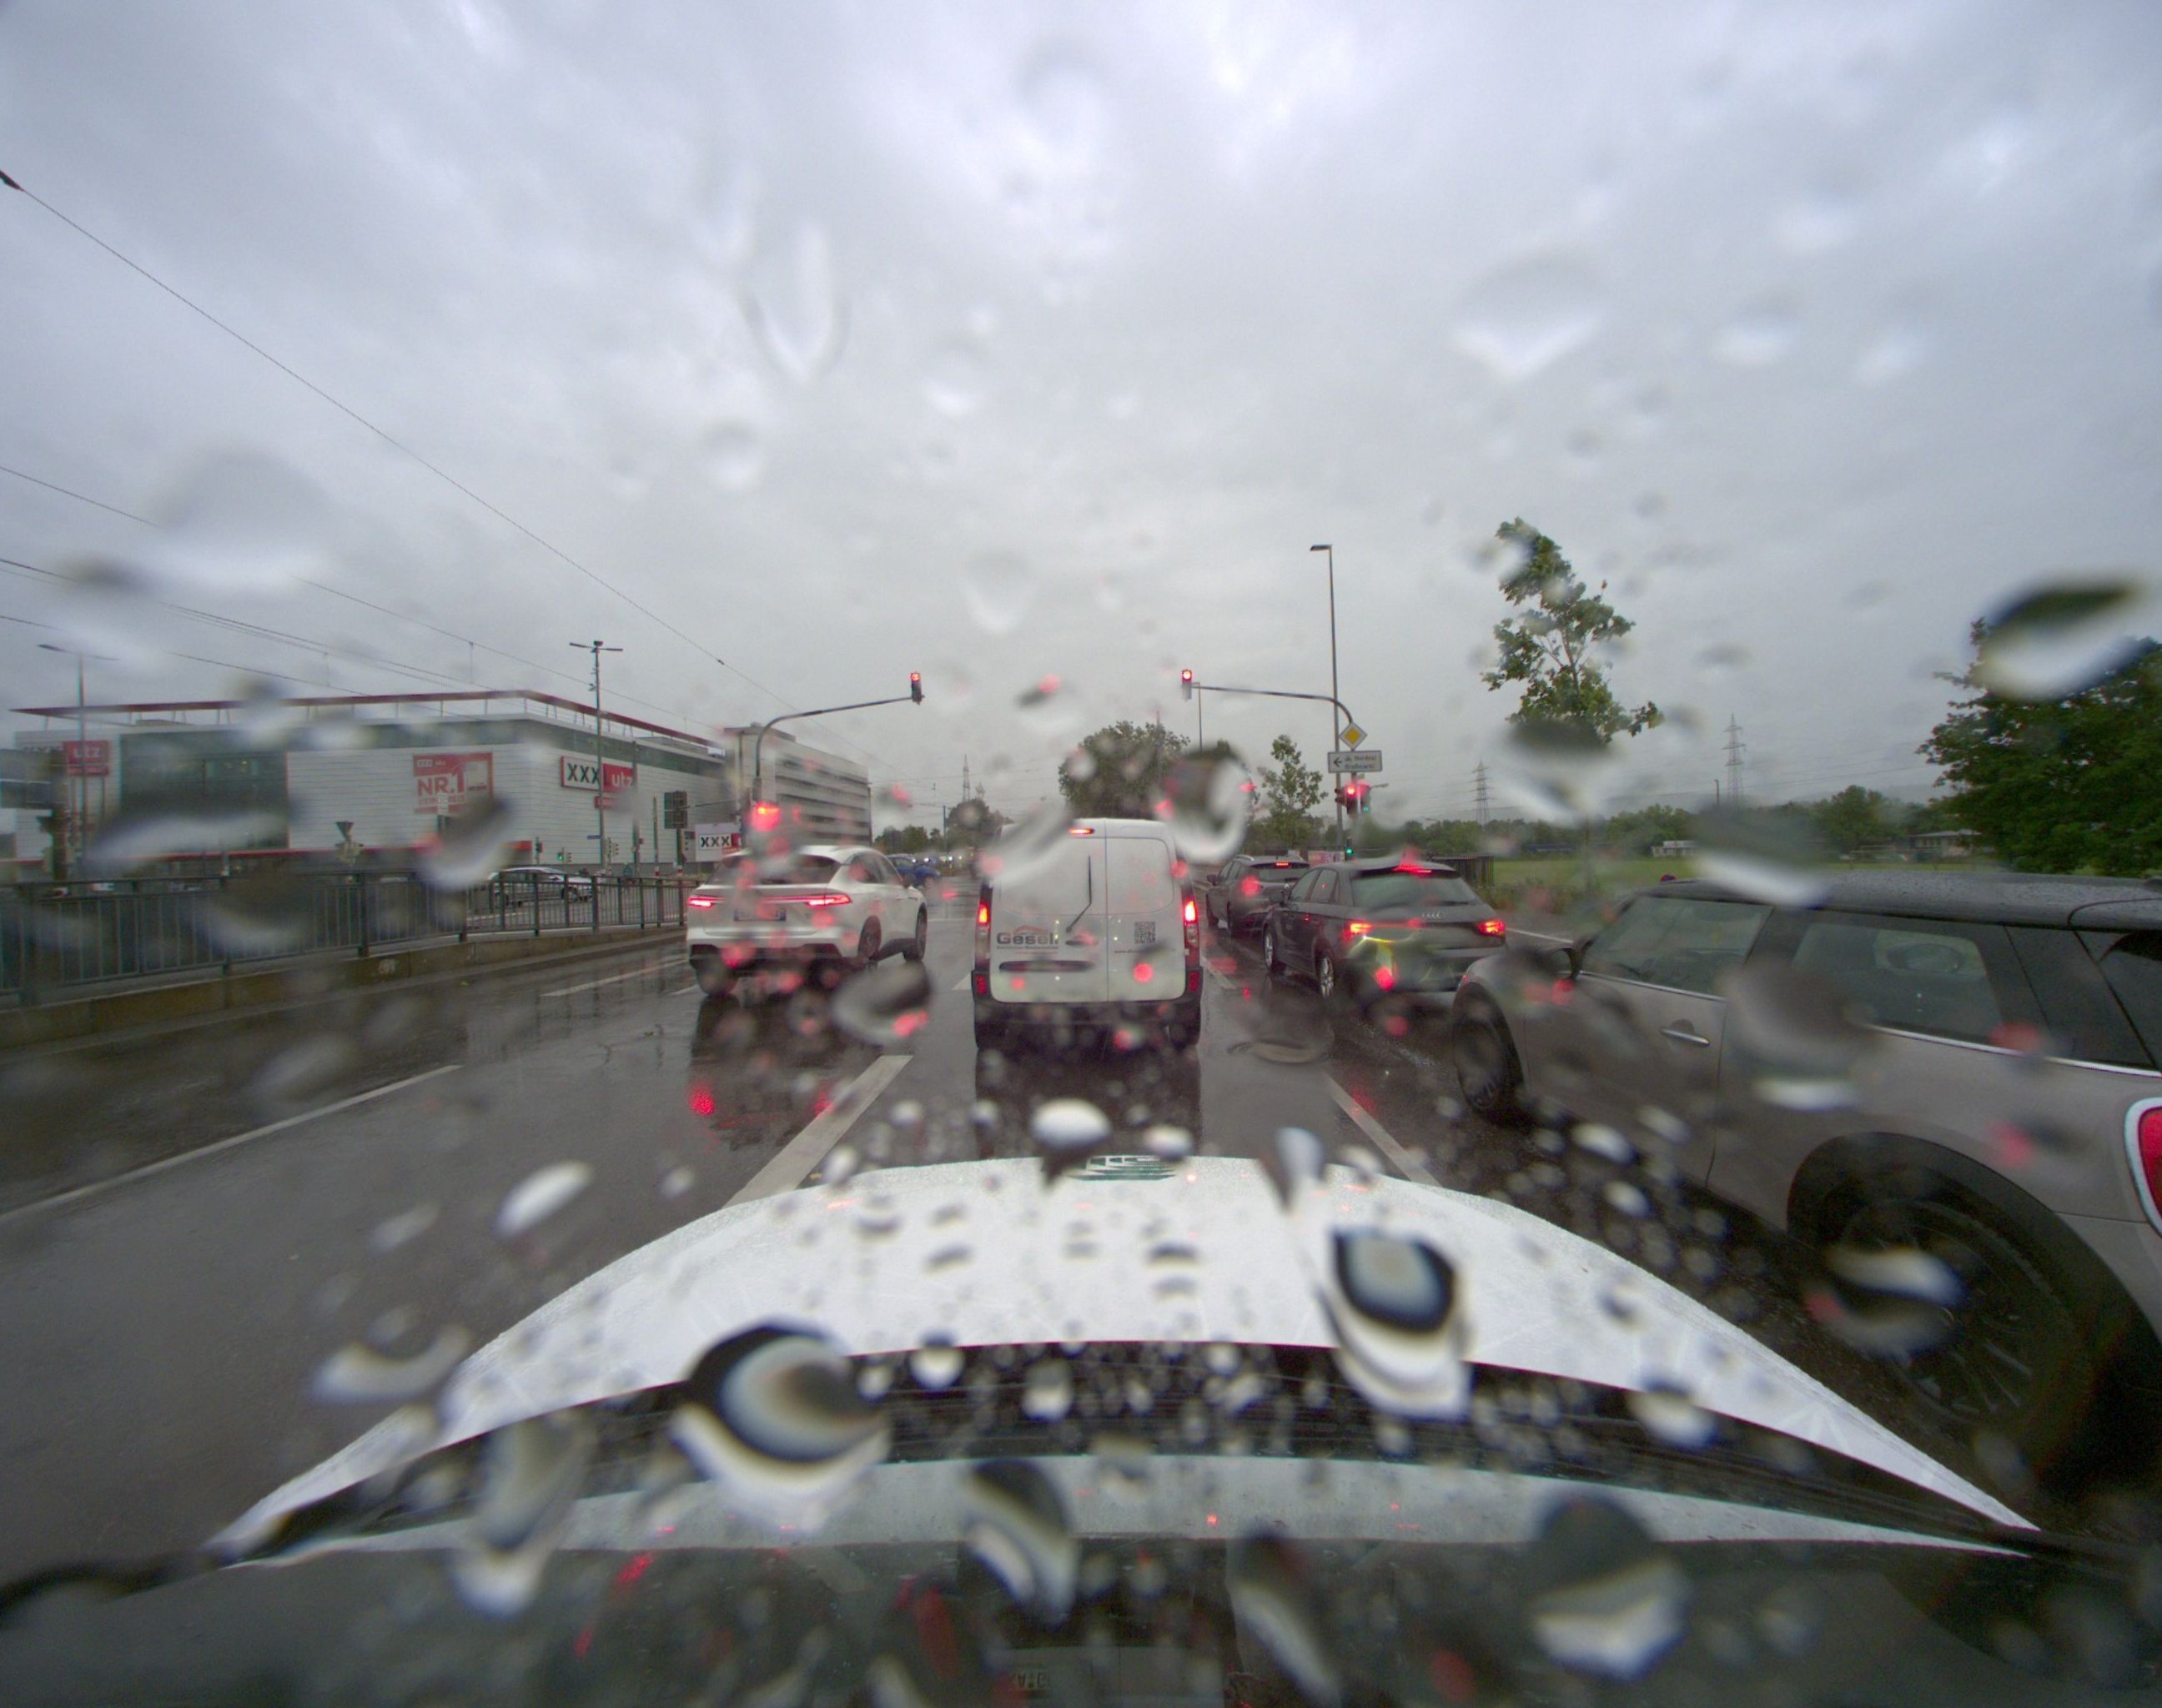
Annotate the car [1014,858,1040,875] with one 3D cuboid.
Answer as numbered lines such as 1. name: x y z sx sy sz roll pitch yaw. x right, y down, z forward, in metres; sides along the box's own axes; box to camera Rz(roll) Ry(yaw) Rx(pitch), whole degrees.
1. car: -4.497 1.031 68.366 1.638 1.398 3.458 2 0 4

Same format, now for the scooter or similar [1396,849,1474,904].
1. scooter or similar: 8.521 0.496 19.768 0.687 1.211 3.022 -2 0 3

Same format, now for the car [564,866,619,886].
1. car: -34.418 1.535 57.397 1.473 1.354 3.810 1 -1 2

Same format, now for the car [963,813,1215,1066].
1. car: 0.008 0.569 7.800 1.749 1.750 4.166 -1 1 -2

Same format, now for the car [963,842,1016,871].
1. car: -5.592 0.173 50.304 1.688 1.674 3.815 2 0 19

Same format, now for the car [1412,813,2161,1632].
1. car: 2.911 0.701 3.232 1.696 1.508 3.881 1 0 2

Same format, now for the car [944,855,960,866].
1. car: -17.895 0.894 113.416 1.554 1.426 3.570 1 -1 2

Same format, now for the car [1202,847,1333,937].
1. car: 3.415 0.648 15.597 1.678 1.508 3.921 0 0 1

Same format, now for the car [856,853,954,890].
1. car: -7.586 0.741 35.207 3.758 1.507 1.633 1 -1 -35

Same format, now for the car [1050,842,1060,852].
1. car: -5.005 -1.341 157.548 1.942 1.662 4.461 1 -1 -1

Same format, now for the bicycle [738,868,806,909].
1. bicycle: -8.955 0.972 23.640 1.766 1.137 0.514 0 -1 -35

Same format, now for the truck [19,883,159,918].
1. truck: -59.785 2.785 49.163 5.859 1.942 2.012 1 -1 0

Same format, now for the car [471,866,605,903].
1. car: -22.340 1.250 33.648 4.245 1.428 1.642 1 -1 -15

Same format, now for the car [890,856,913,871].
1. car: -18.602 1.003 84.525 1.554 1.426 3.570 1 -1 2

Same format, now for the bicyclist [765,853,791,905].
1. bicyclist: -8.841 0.721 23.767 0.607 1.491 0.594 0 -1 -33

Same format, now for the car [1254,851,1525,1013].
1. car: 3.099 0.722 8.982 1.592 1.366 3.630 -2 -1 0

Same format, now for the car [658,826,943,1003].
1. car: -3.207 0.612 10.495 1.923 1.775 4.665 0 0 2

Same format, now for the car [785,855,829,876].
1. car: -19.428 0.803 57.817 1.704 1.426 3.810 1 -1 2

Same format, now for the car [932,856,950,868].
1. car: -17.774 1.023 103.424 1.554 1.426 3.570 1 -1 2

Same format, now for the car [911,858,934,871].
1. car: -17.742 1.211 91.536 1.704 1.426 3.810 1 -1 2
